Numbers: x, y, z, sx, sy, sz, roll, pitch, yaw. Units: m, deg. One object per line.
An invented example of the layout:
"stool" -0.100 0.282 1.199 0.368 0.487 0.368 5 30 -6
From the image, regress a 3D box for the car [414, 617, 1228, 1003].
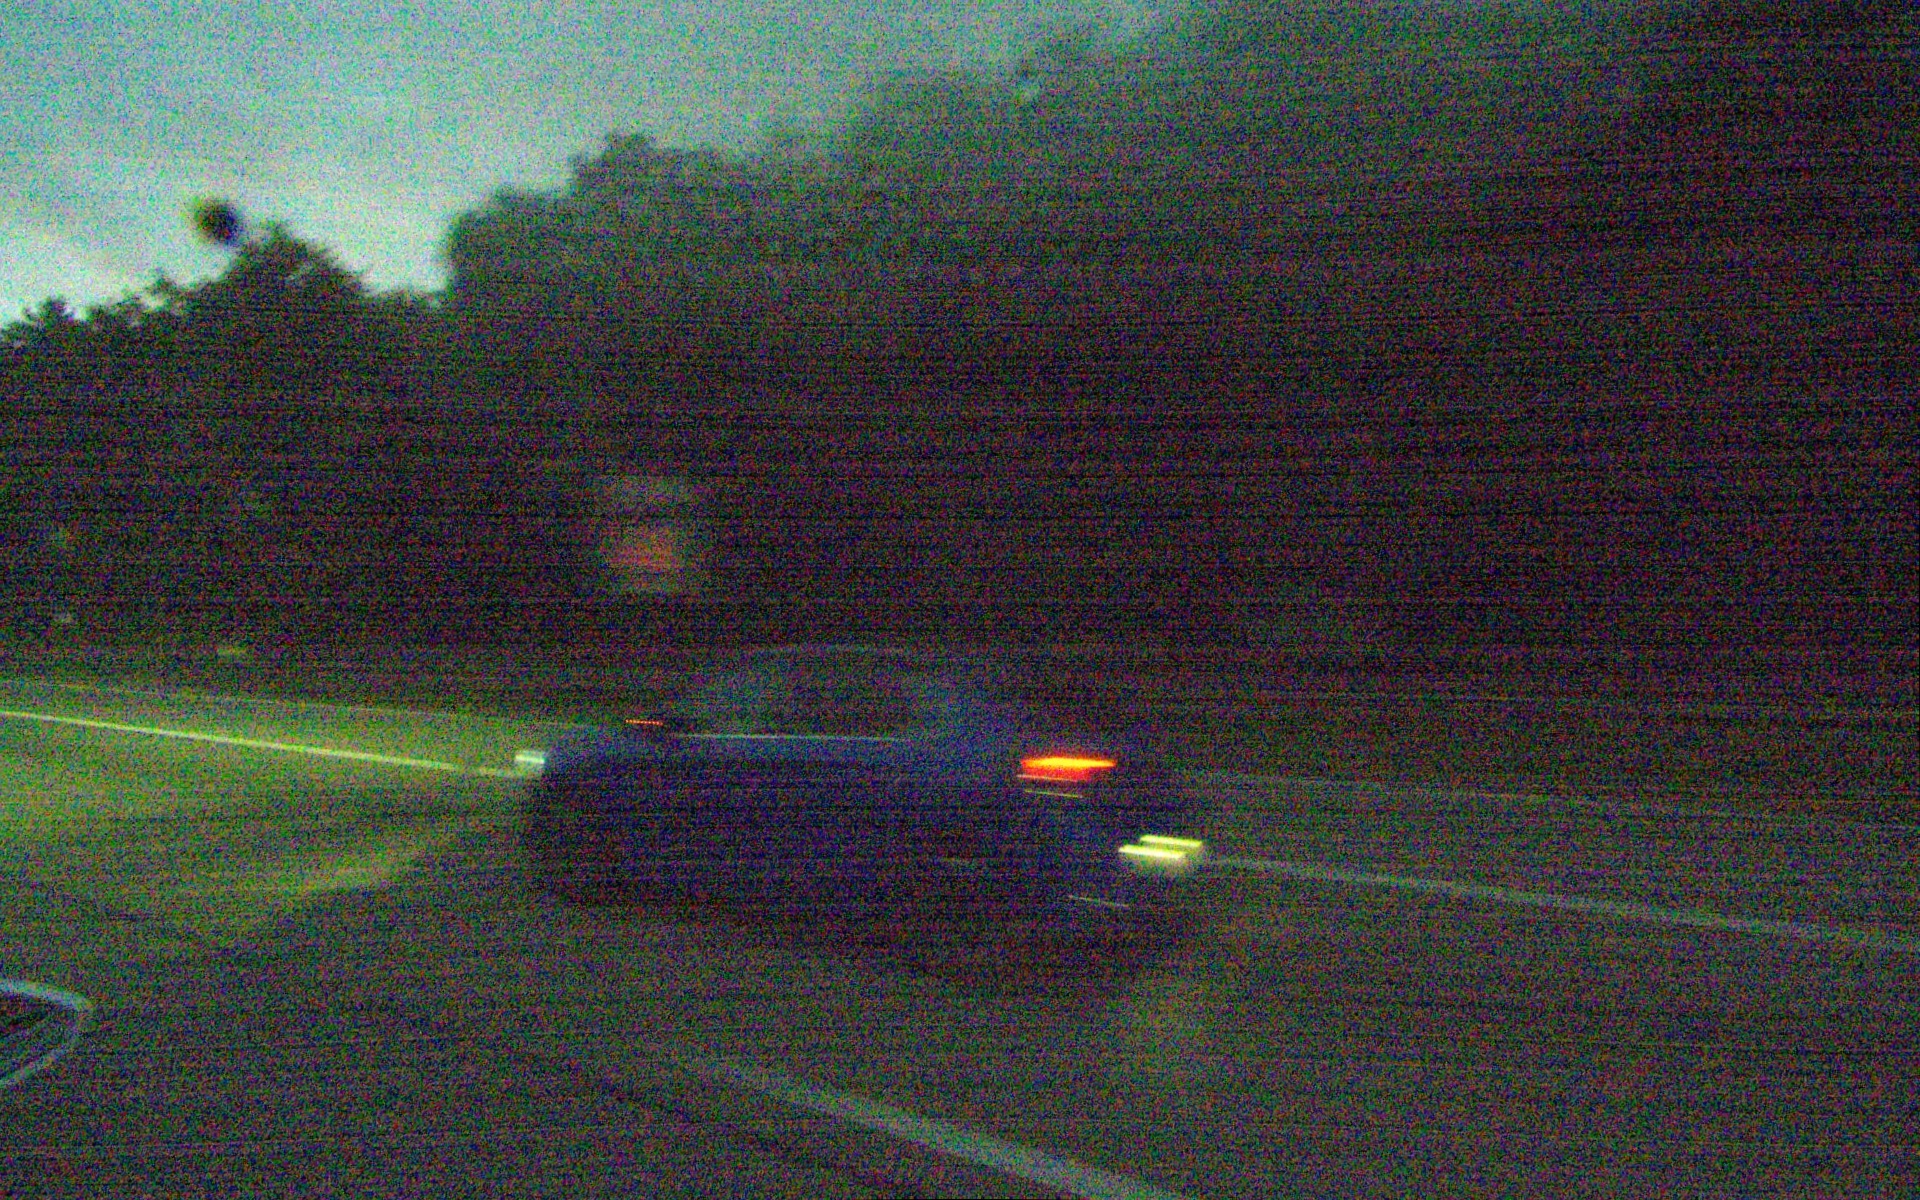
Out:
"car" -0.963 0.873 5.772 4.518 1.454 1.862 -2 -2 32
